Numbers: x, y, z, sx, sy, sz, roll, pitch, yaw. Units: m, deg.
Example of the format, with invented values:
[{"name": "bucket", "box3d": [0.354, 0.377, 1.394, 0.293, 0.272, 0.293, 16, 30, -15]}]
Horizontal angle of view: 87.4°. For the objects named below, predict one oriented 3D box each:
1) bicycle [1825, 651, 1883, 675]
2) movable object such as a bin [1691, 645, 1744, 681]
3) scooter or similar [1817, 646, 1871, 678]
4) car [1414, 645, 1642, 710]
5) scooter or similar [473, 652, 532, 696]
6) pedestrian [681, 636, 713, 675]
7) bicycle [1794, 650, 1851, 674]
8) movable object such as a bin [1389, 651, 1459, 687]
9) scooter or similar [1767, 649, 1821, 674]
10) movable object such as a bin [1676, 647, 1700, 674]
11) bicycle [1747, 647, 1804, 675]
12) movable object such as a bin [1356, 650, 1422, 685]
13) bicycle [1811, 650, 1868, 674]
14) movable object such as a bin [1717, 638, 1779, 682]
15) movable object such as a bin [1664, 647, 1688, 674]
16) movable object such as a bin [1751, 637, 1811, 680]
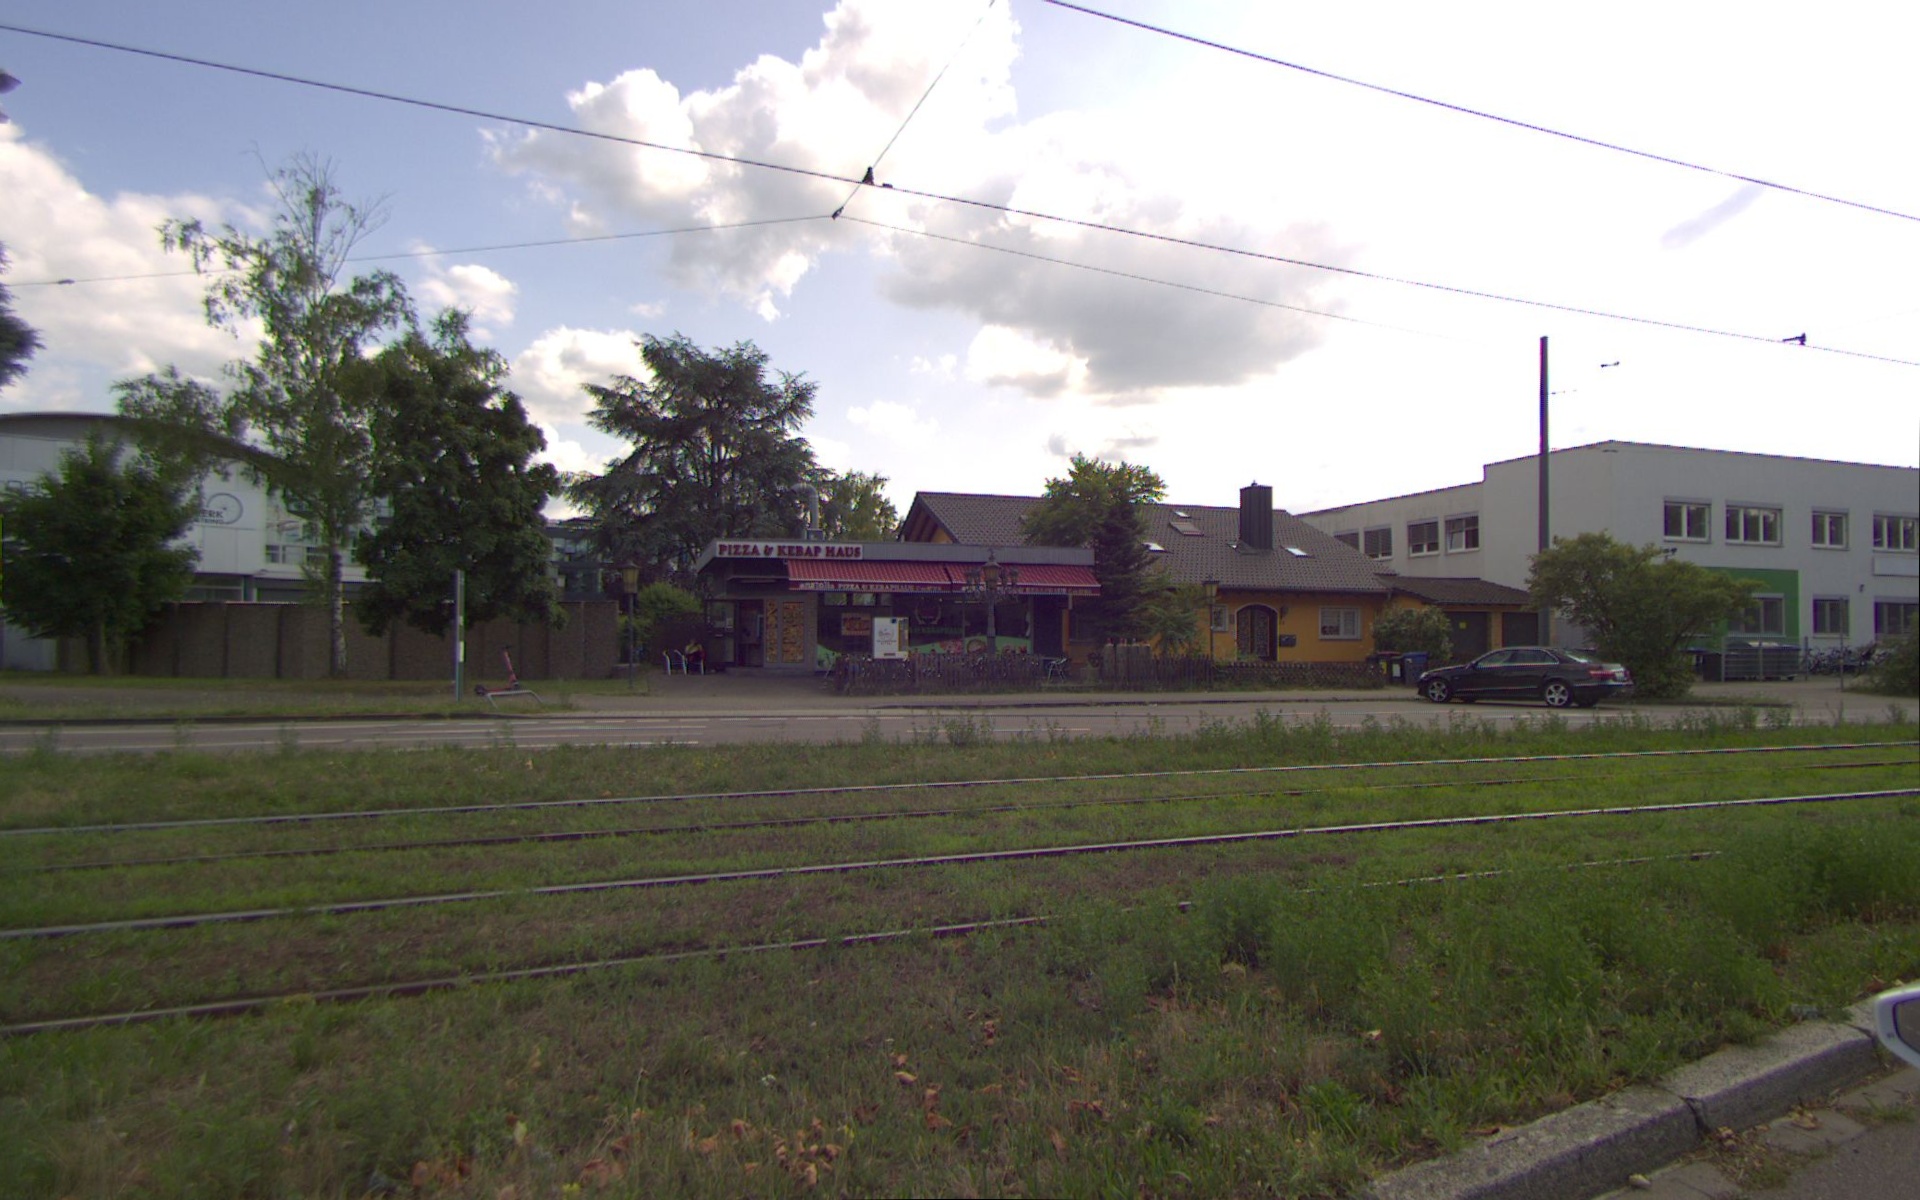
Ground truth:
[{"name": "bicycle", "box3d": [38.105, 2.663, 42.845, 0.451, 0.911, 1.857, 2, -1, -17]}, {"name": "movable object such as a bin", "box3d": [27.542, 2.288, 36.536, 1.235, 1.250, 1.006, 0, 0, -16]}, {"name": "scooter or similar", "box3d": [35.417, 2.461, 40.266, 1.072, 1.171, 1.308, 2, -1, 11]}, {"name": "car", "box3d": [13.950, 1.867, 24.945, 1.866, 1.425, 4.603, 4, -4, -37]}, {"name": "scooter or similar", "box3d": [-10.967, 1.772, 24.099, 1.200, 1.047, 0.427, 1, -2, -8]}, {"name": "pedestrian", "box3d": [-8.112, 1.691, 30.914, 0.917, 1.161, 1.153, 1, -2, -16]}, {"name": "bicycle", "box3d": [36.198, 2.593, 42.200, 0.451, 0.911, 1.857, 2, -1, -17]}, {"name": "movable object such as a bin", "box3d": [14.661, 2.167, 31.786, 1.593, 1.115, 1.253, 1, -2, -19]}, {"name": "scooter or similar", "box3d": [34.735, 2.557, 41.852, 0.451, 0.911, 1.734, 2, -1, -17]}, {"name": "movable object such as a bin", "box3d": [29.268, 2.433, 40.408, 0.555, 1.056, 0.568, 0, 0, -17]}, {"name": "bicycle", "box3d": [33.408, 2.490, 41.173, 0.451, 0.999, 1.857, 2, -1, -17]}, {"name": "movable object such as a bin", "box3d": [14.157, 2.220, 33.161, 1.593, 1.107, 1.253, 1, -2, -19]}, {"name": "bicycle", "box3d": [37.261, 2.632, 42.577, 0.451, 0.911, 1.857, 2, -1, -17]}, {"name": "movable object such as a bin", "box3d": [28.993, 2.177, 36.963, 1.683, 1.540, 1.006, 0, 0, -16]}, {"name": "movable object such as a bin", "box3d": [28.648, 2.429, 40.203, 0.555, 1.056, 0.568, 0, 0, -17]}, {"name": "movable object such as a bin", "box3d": [30.592, 2.176, 37.445, 1.578, 1.540, 1.006, 0, 0, -16]}]
